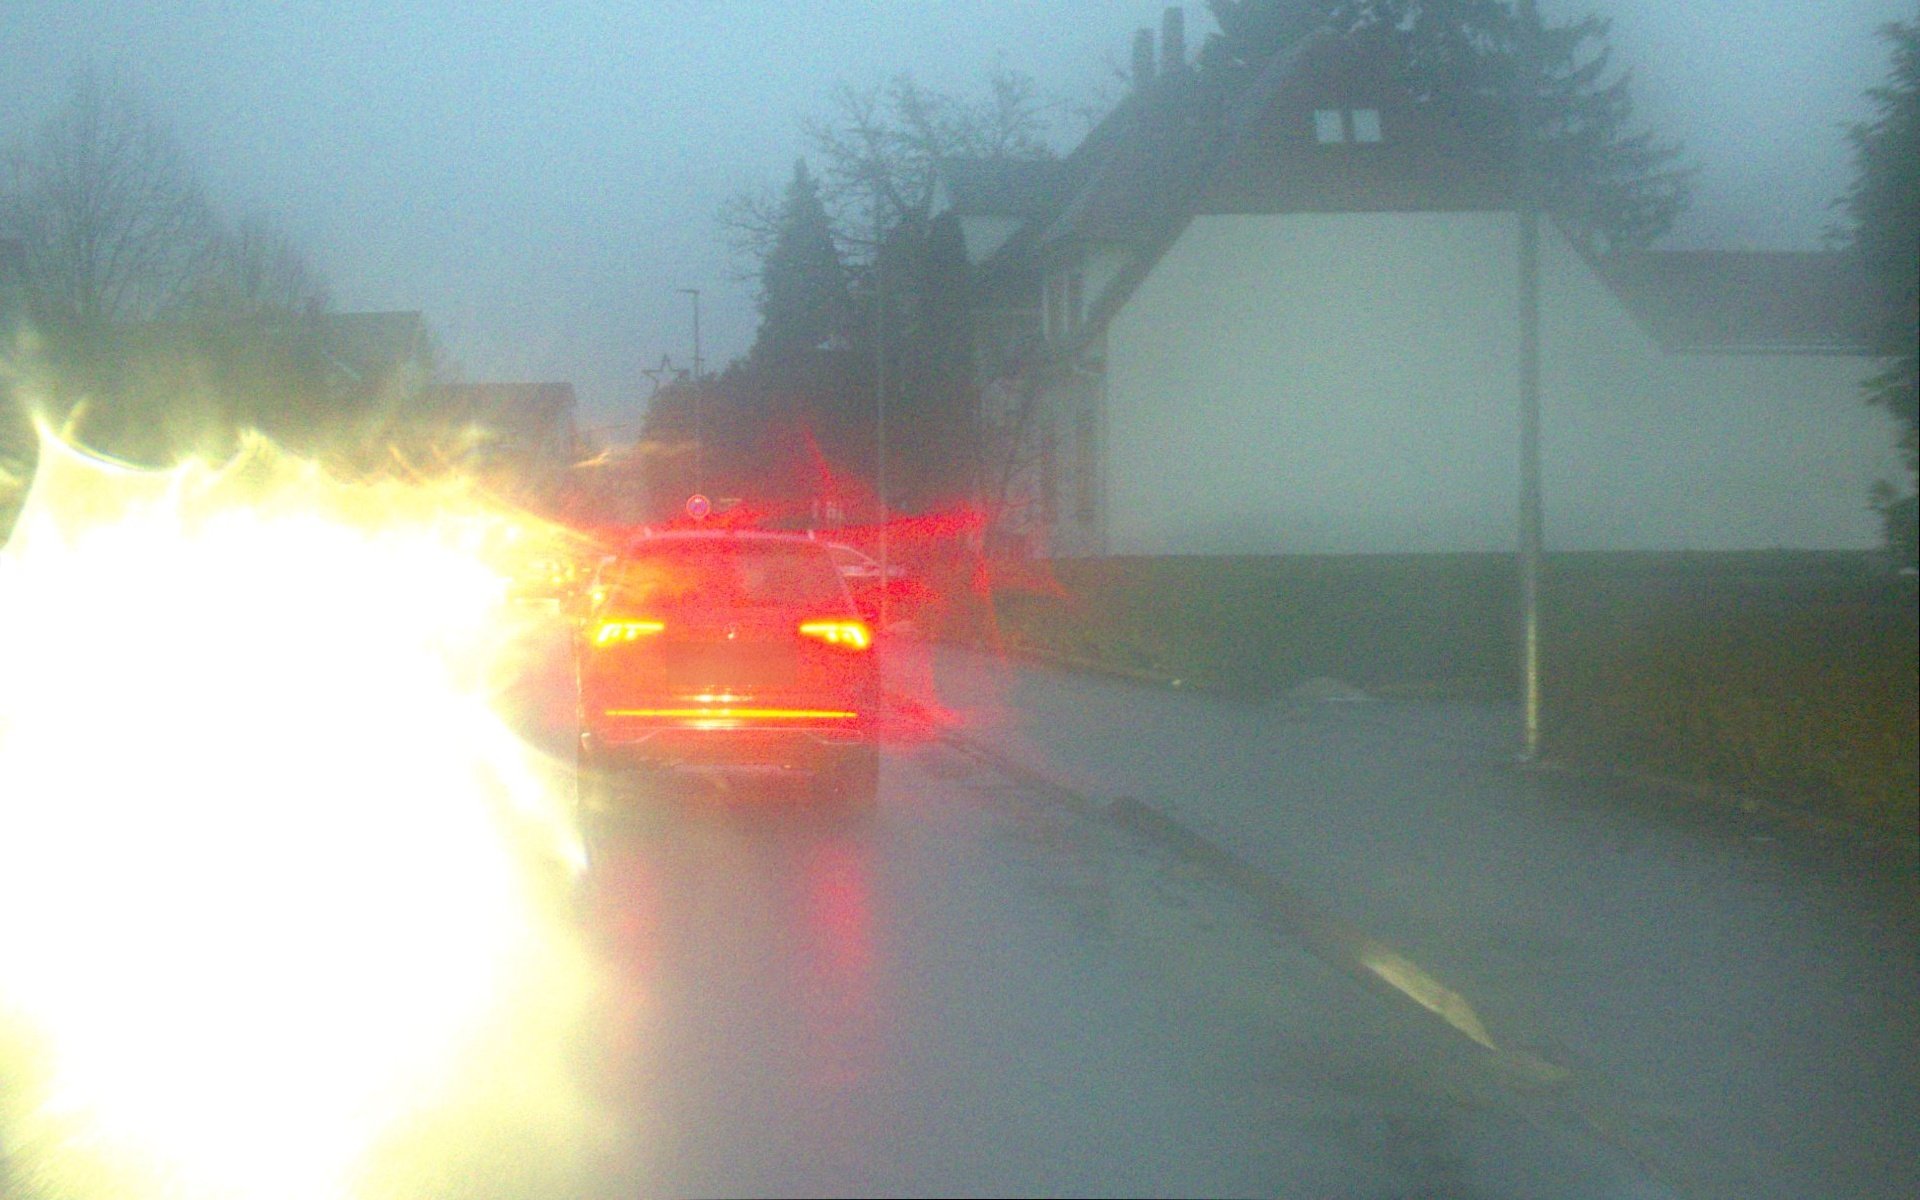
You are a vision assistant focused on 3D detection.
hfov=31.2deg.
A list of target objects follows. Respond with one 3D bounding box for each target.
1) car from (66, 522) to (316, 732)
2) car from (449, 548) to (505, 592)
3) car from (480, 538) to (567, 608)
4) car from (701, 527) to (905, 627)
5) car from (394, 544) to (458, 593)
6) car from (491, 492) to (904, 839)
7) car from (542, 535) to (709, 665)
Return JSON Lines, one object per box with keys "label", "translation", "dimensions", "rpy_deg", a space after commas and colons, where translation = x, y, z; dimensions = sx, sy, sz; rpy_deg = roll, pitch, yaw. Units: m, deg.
{"label": "car", "translation": [-6.343, 0.182, 28.511], "dimensions": [1.823, 1.548, 4.001], "rpy_deg": [-2, 1, -12]}
{"label": "car", "translation": [-18.178, -1.151, 129.497], "dimensions": [1.912, 1.426, 4.002], "rpy_deg": [-1, 3, -6]}
{"label": "car", "translation": [-12.569, -0.779, 98.788], "dimensions": [2.309, 1.932, 5.019], "rpy_deg": [-1, 0, -9]}
{"label": "car", "translation": [-3.361, -0.497, 73.255], "dimensions": [4.246, 2.007, 1.811], "rpy_deg": [-1, 1, -4]}
{"label": "car", "translation": [-18.081, -1.093, 116.609], "dimensions": [1.912, 1.517, 4.001], "rpy_deg": [-1, 3, -6]}
{"label": "car", "translation": [-1.707, 0.353, 22.033], "dimensions": [2.309, 1.932, 5.019], "rpy_deg": [-1, 0, -5]}
{"label": "car", "translation": [-4.523, -0.037, 46.024], "dimensions": [1.857, 1.641, 4.001], "rpy_deg": [0, 1, -11]}
